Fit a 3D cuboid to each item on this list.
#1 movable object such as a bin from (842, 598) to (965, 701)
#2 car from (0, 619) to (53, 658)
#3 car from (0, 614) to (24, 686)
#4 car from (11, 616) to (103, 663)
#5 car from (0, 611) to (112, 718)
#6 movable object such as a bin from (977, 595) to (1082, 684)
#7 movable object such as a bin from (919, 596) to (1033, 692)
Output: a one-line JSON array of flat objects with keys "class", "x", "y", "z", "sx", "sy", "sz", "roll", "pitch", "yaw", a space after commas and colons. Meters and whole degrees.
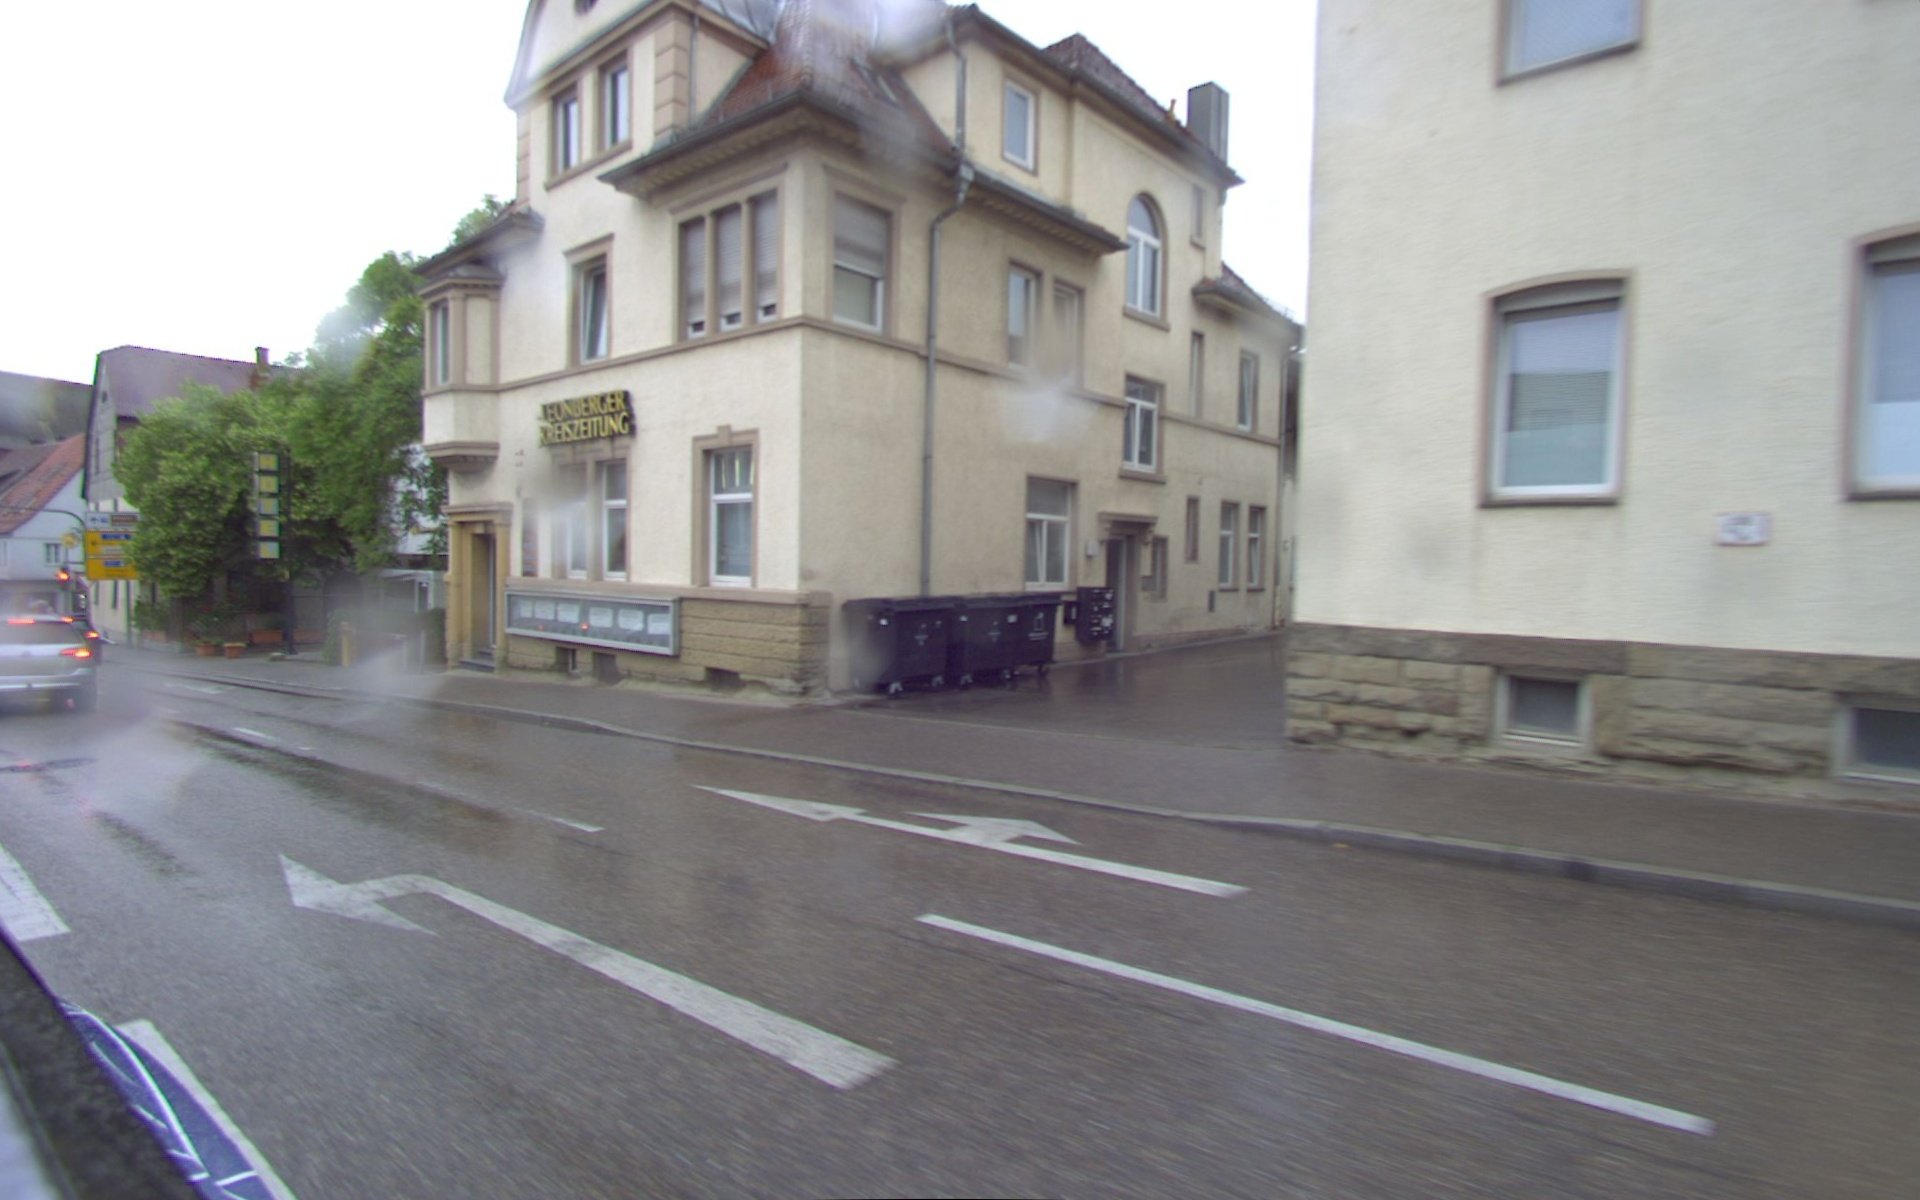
[{"class": "movable object such as a bin", "x": -0.755, "y": 0.632, "z": 13.593, "sx": 1.050, "sy": 1.276, "sz": 1.267, "roll": -1, "pitch": 0, "yaw": 40}, {"class": "car", "x": -34.228, "y": 1.358, "z": 36.510, "sx": 4.031, "sy": 1.303, "sz": 1.829, "roll": -1, "pitch": 0, "yaw": 42}, {"class": "car", "x": -21.678, "y": 1.076, "z": 21.767, "sx": 4.687, "sy": 1.450, "sz": 1.780, "roll": -1, "pitch": 0, "yaw": 41}, {"class": "car", "x": -29.313, "y": 1.249, "z": 32.811, "sx": 4.057, "sy": 1.364, "sz": 1.720, "roll": -1, "pitch": 0, "yaw": 41}, {"class": "car", "x": -14.970, "y": 0.944, "z": 15.882, "sx": 4.685, "sy": 1.450, "sz": 1.781, "roll": -1, "pitch": 0, "yaw": 40}, {"class": "movable object such as a bin", "x": 1.067, "y": 0.576, "z": 15.479, "sx": 1.050, "sy": 1.276, "sz": 1.267, "roll": -1, "pitch": 0, "yaw": 40}, {"class": "movable object such as a bin", "x": 0.240, "y": 0.602, "z": 14.476, "sx": 1.050, "sy": 1.276, "sz": 1.267, "roll": -1, "pitch": 0, "yaw": 40}]
